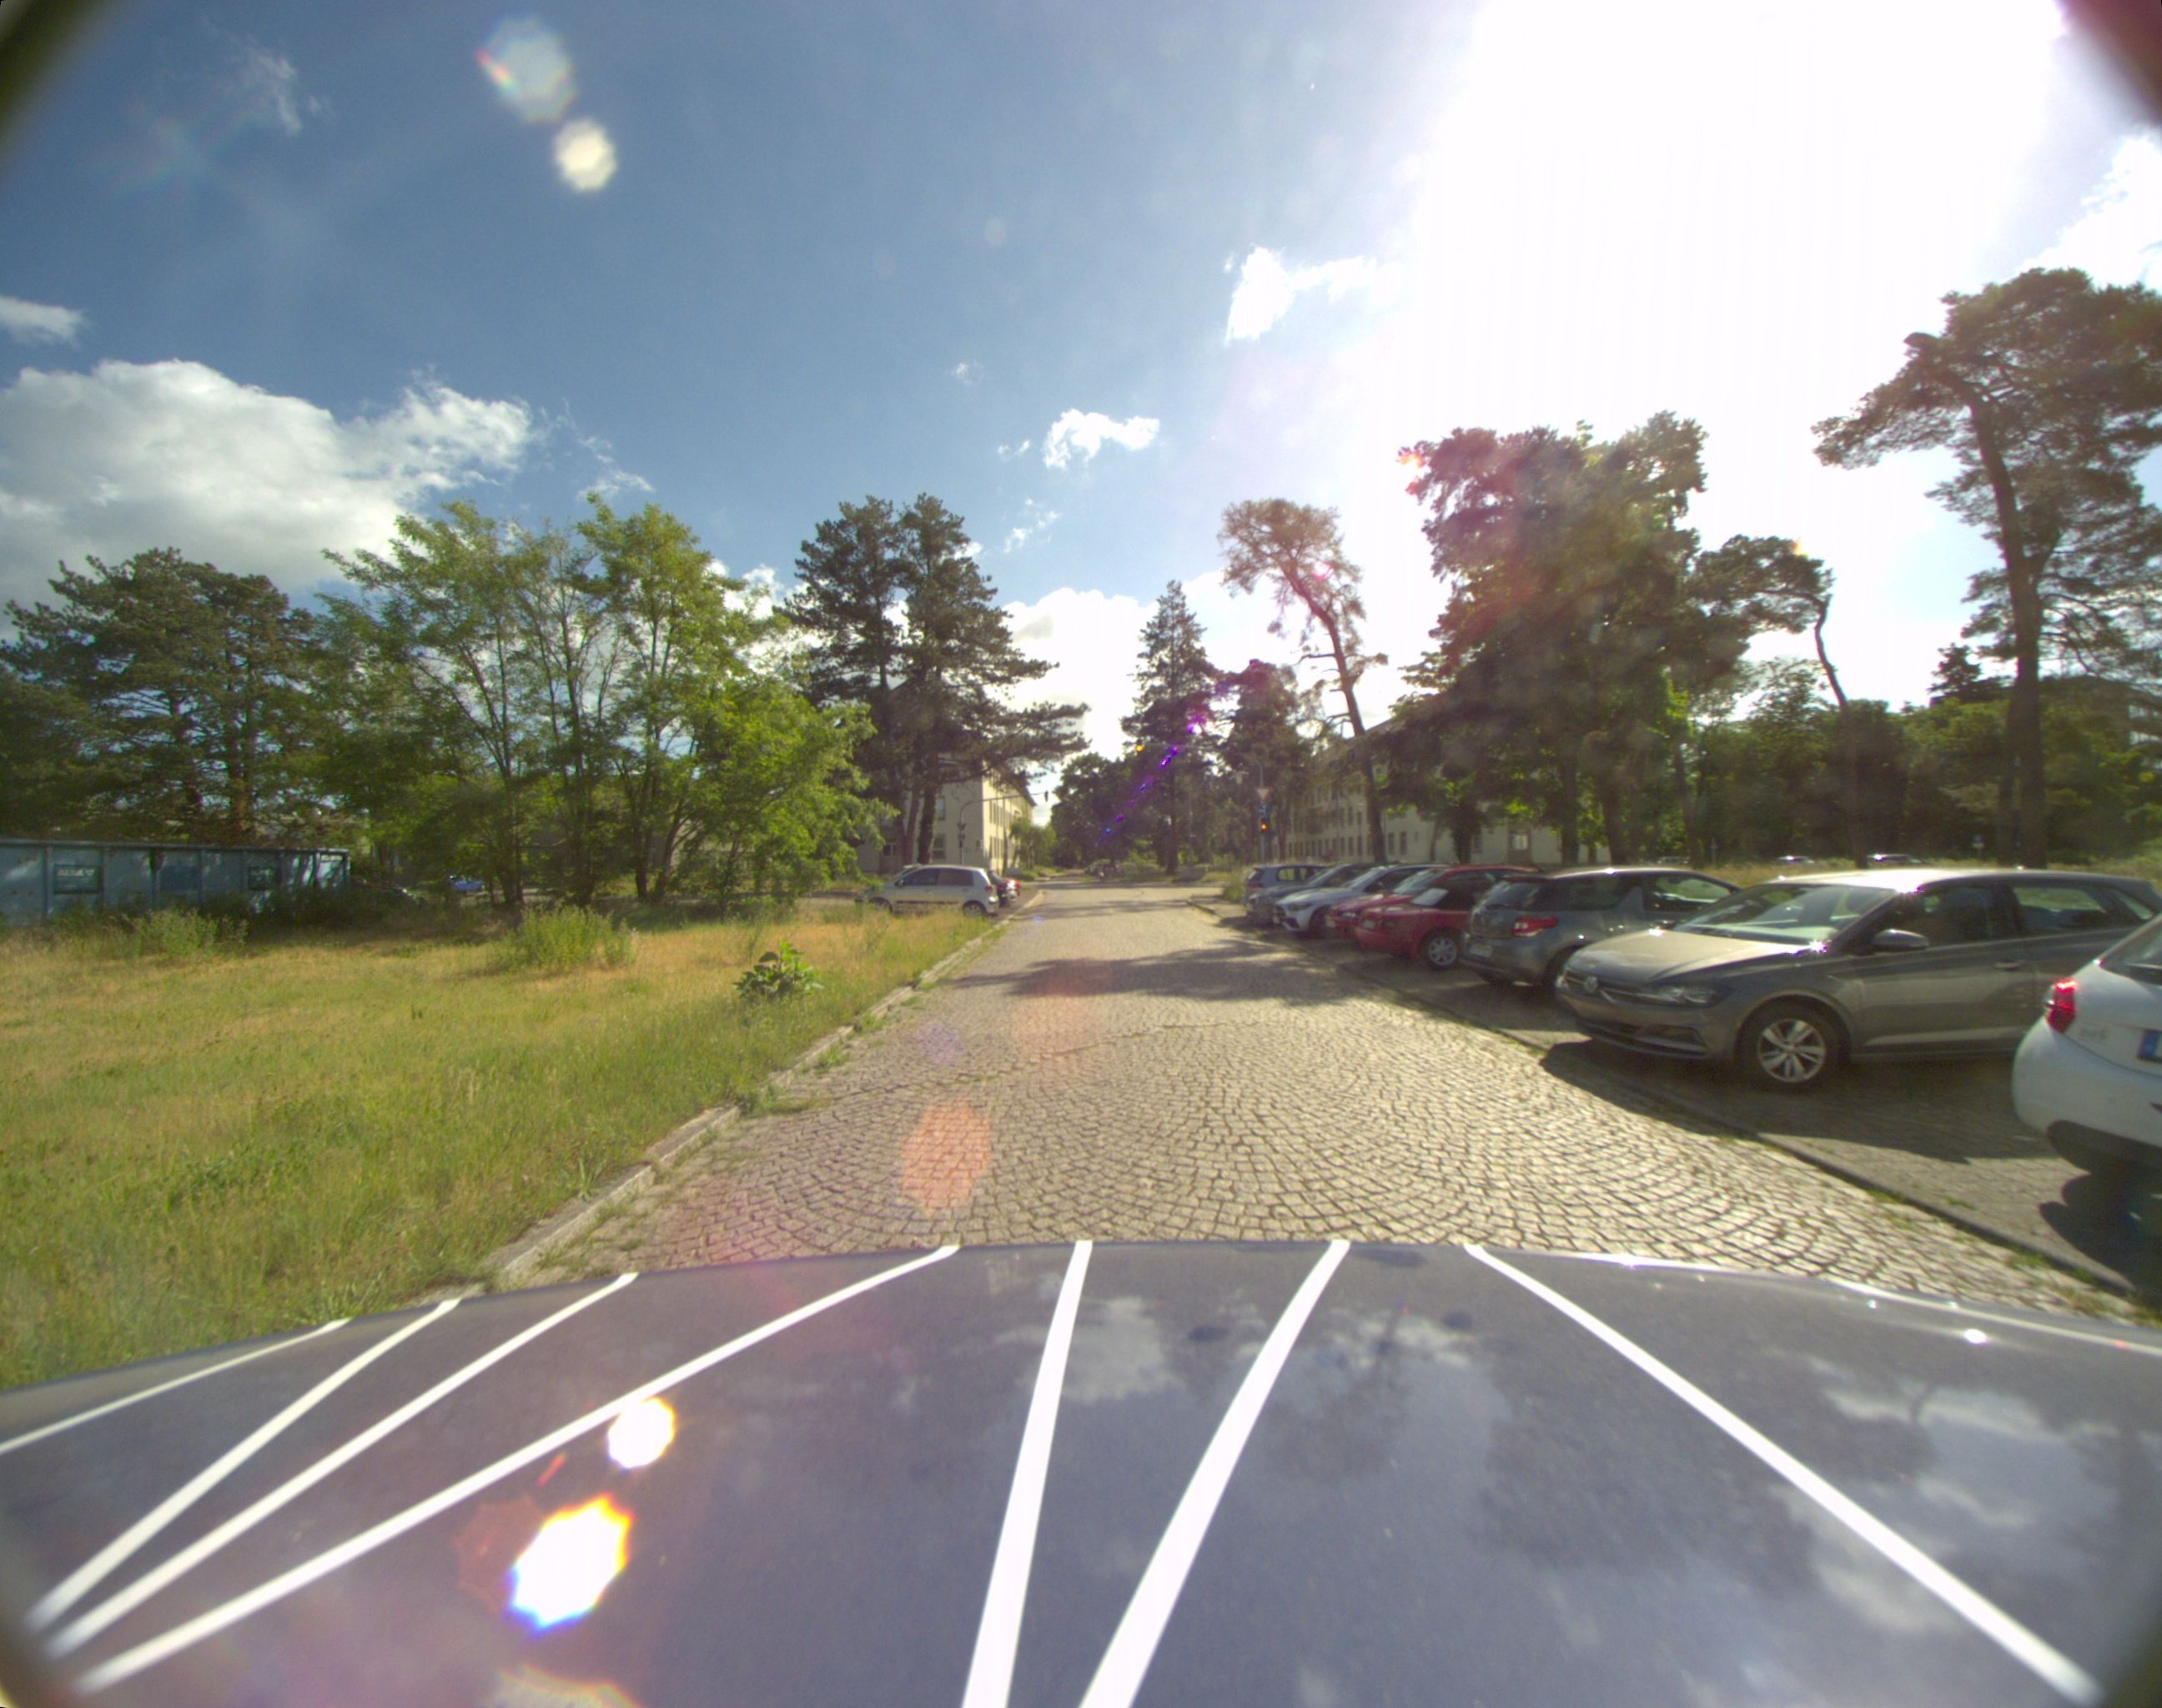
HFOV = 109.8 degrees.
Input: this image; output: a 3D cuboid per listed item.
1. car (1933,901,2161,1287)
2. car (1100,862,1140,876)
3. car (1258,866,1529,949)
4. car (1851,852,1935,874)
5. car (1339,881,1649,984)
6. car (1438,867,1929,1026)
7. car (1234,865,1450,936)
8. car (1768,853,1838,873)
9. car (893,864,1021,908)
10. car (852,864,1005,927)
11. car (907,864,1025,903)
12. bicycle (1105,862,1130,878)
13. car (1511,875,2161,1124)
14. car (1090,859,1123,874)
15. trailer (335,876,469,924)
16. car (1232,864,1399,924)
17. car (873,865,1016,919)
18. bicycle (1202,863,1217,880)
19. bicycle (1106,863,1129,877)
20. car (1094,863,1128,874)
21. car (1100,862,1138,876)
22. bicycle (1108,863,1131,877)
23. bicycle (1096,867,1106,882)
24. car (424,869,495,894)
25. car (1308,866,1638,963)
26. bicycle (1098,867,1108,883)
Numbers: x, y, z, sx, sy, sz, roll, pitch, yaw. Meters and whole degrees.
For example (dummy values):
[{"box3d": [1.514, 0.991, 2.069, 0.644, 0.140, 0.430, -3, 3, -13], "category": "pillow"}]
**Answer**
[{"box3d": [6.391, 0.924, 2.887, 4.206, 1.466, 1.824, -2, 0, 0], "category": "car"}, {"box3d": [4.147, 1.620, 81.963, 4.044, 1.493, 1.817, 0, 0, -7], "category": "car"}, {"box3d": [6.405, 1.077, 15.982, 4.876, 1.412, 1.938, -2, 1, 1], "category": "car"}, {"box3d": [59.210, 0.646, 55.460, 4.056, 1.620, 1.841, 0, 0, 2], "category": "car"}, {"box3d": [5.974, 1.121, 11.331, 3.639, 1.227, 1.760, -2, 1, 2], "category": "car"}, {"box3d": [6.555, 0.965, 8.654, 4.086, 1.443, 1.822, -2, 1, 2], "category": "car"}, {"box3d": [6.294, 1.091, 18.703, 4.594, 1.443, 1.984, -2, 0, -3], "category": "car"}, {"box3d": [59.832, 0.733, 63.051, 4.105, 1.571, 1.720, 0, 0, 2], "category": "car"}, {"box3d": [-4.559, 1.182, 28.499, 4.525, 1.456, 1.838, 2, 0, -2], "category": "car"}, {"box3d": [-4.034, 1.083, 20.517, 3.750, 1.468, 1.752, 2, 0, -1], "category": "car"}, {"box3d": [-4.650, 1.181, 31.313, 4.548, 1.413, 1.894, 2, 0, 0], "category": "car"}, {"box3d": [3.398, 1.476, 70.137, 2.114, 1.276, 0.621, -6, 0, -2], "category": "bicycle"}, {"box3d": [5.880, 0.959, 5.775, 4.086, 1.417, 1.923, -2, 0, 2], "category": "car"}, {"box3d": [3.392, 1.653, 102.349, 4.227, 1.902, 1.816, 0, 0, -9], "category": "car"}, {"box3d": [-17.348, 1.161, 19.468, 2.405, 1.099, 1.036, -2, 0, -3], "category": "trailer"}, {"box3d": [6.481, 1.078, 21.320, 4.037, 1.474, 1.949, -2, -1, -1], "category": "car"}, {"box3d": [-4.088, 1.141, 23.263, 4.015, 1.432, 1.844, 2, -1, -1], "category": "car"}, {"box3d": [9.703, 1.301, 57.529, 0.621, 1.276, 2.115, -4, 0, -1], "category": "bicycle"}, {"box3d": [3.533, 1.531, 73.216, 2.114, 1.276, 0.621, -3, 0, -5], "category": "bicycle"}, {"box3d": [3.797, 1.883, 96.727, 4.044, 1.355, 1.817, 0, 0, -6], "category": "car"}, {"box3d": [4.209, 1.661, 84.988, 4.044, 1.514, 1.817, 0, 0, -7], "category": "car"}, {"box3d": [3.643, 1.515, 72.387, 2.114, 1.276, 0.621, -3, 0, -6], "category": "bicycle"}, {"box3d": [1.806, 1.880, 68.984, 0.621, 1.276, 2.114, -3, 0, -4], "category": "bicycle"}, {"box3d": [-46.779, 2.050, 57.305, 1.860, 1.555, 4.059, -1, 3, 3], "category": "car"}, {"box3d": [6.816, 1.027, 13.633, 4.876, 1.412, 1.938, -2, 0, 1], "category": "car"}, {"box3d": [1.947, 1.839, 66.807, 0.621, 1.342, 2.114, -3, 0, -4], "category": "bicycle"}]
